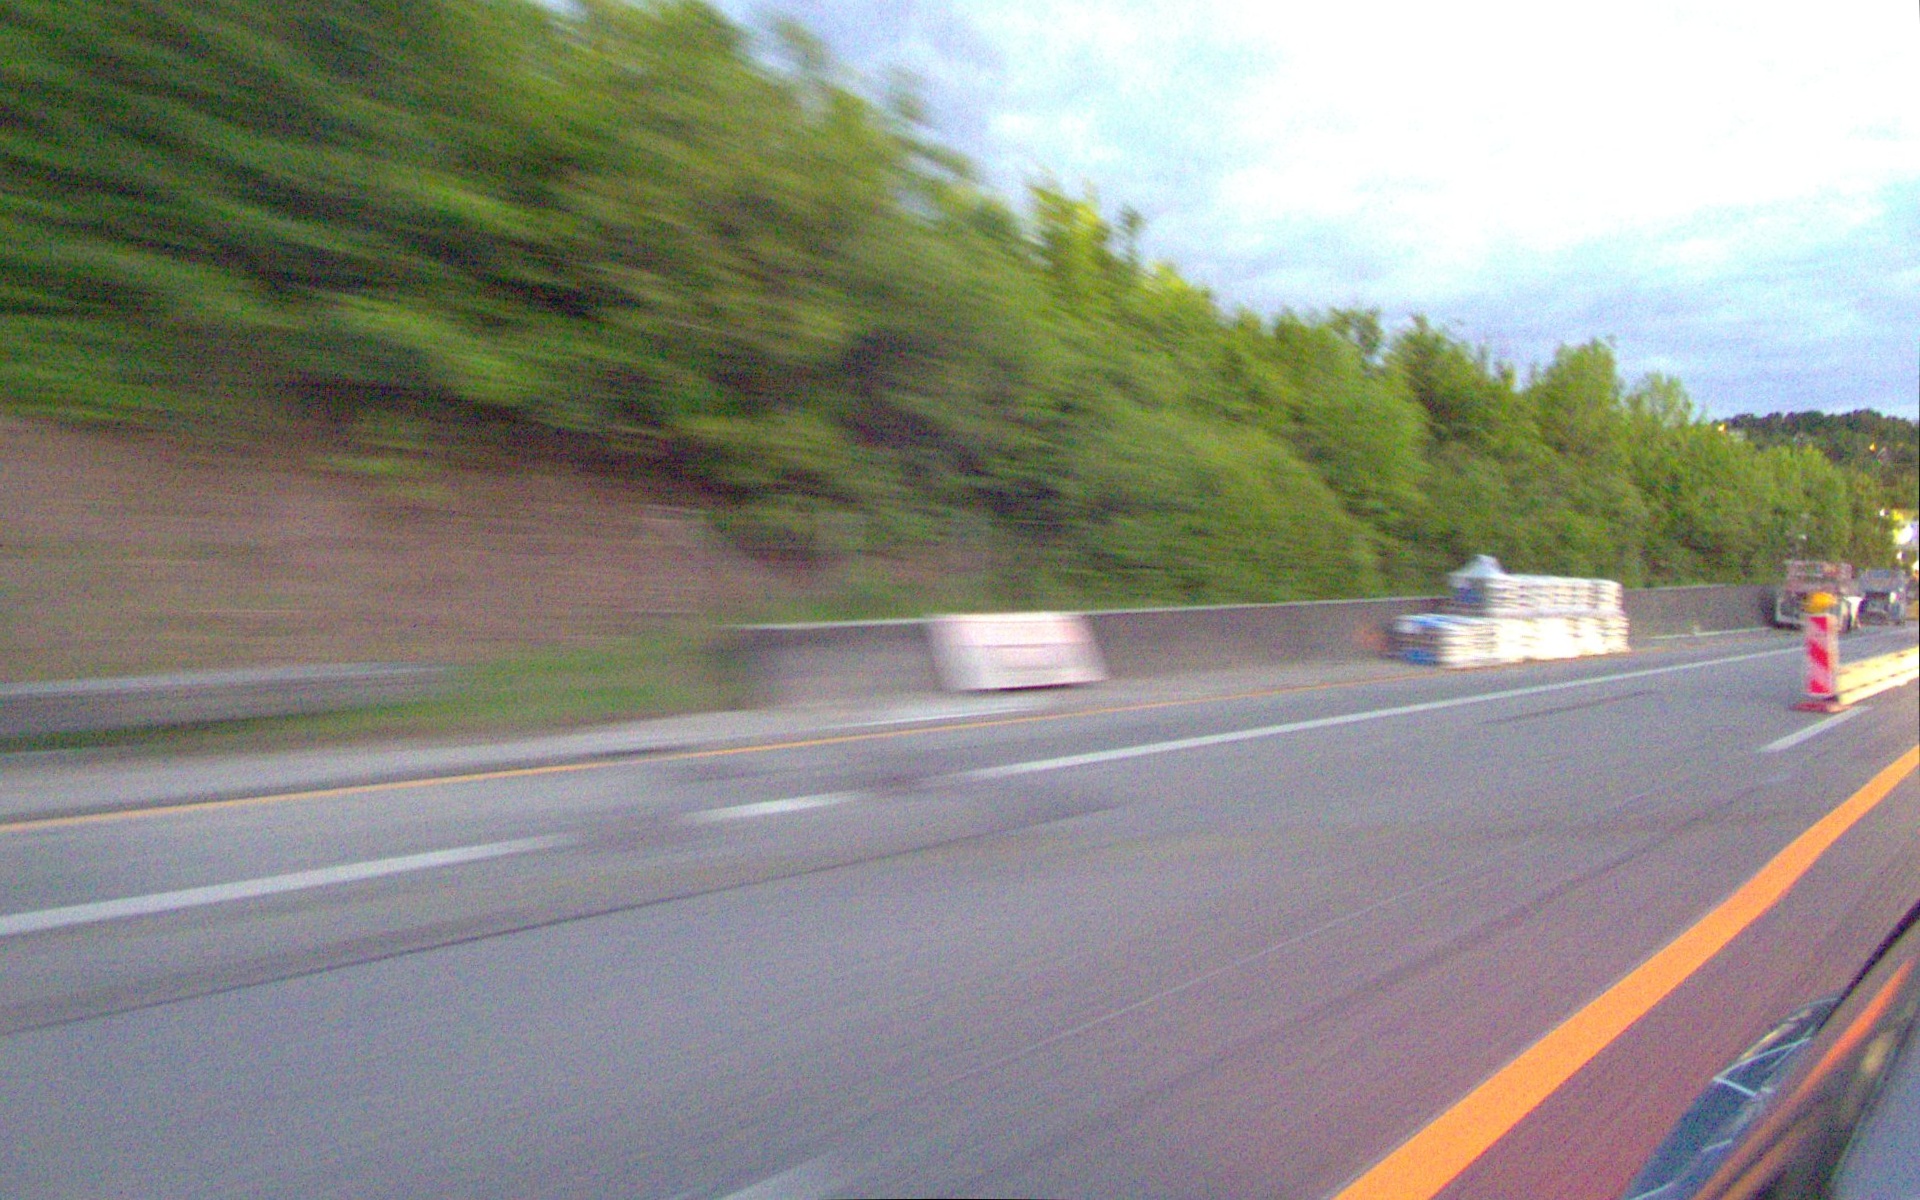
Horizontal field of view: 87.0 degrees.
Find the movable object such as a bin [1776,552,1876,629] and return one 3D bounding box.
[{"bbox_3d":[37.900,-0.479,44.223,5.707,3.146,2.624,-1,2,-43],"label":"movable object such as a bin"}]

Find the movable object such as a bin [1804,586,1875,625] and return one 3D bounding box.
[{"bbox_3d":[41.404,0.213,47.620,4.014,1.621,1.997,-1,3,-42],"label":"movable object such as a bin"}]

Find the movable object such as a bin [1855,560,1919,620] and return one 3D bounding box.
[{"bbox_3d":[54.848,-0.648,59.575,5.484,3.359,2.568,-1,2,-43],"label":"movable object such as a bin"}]
